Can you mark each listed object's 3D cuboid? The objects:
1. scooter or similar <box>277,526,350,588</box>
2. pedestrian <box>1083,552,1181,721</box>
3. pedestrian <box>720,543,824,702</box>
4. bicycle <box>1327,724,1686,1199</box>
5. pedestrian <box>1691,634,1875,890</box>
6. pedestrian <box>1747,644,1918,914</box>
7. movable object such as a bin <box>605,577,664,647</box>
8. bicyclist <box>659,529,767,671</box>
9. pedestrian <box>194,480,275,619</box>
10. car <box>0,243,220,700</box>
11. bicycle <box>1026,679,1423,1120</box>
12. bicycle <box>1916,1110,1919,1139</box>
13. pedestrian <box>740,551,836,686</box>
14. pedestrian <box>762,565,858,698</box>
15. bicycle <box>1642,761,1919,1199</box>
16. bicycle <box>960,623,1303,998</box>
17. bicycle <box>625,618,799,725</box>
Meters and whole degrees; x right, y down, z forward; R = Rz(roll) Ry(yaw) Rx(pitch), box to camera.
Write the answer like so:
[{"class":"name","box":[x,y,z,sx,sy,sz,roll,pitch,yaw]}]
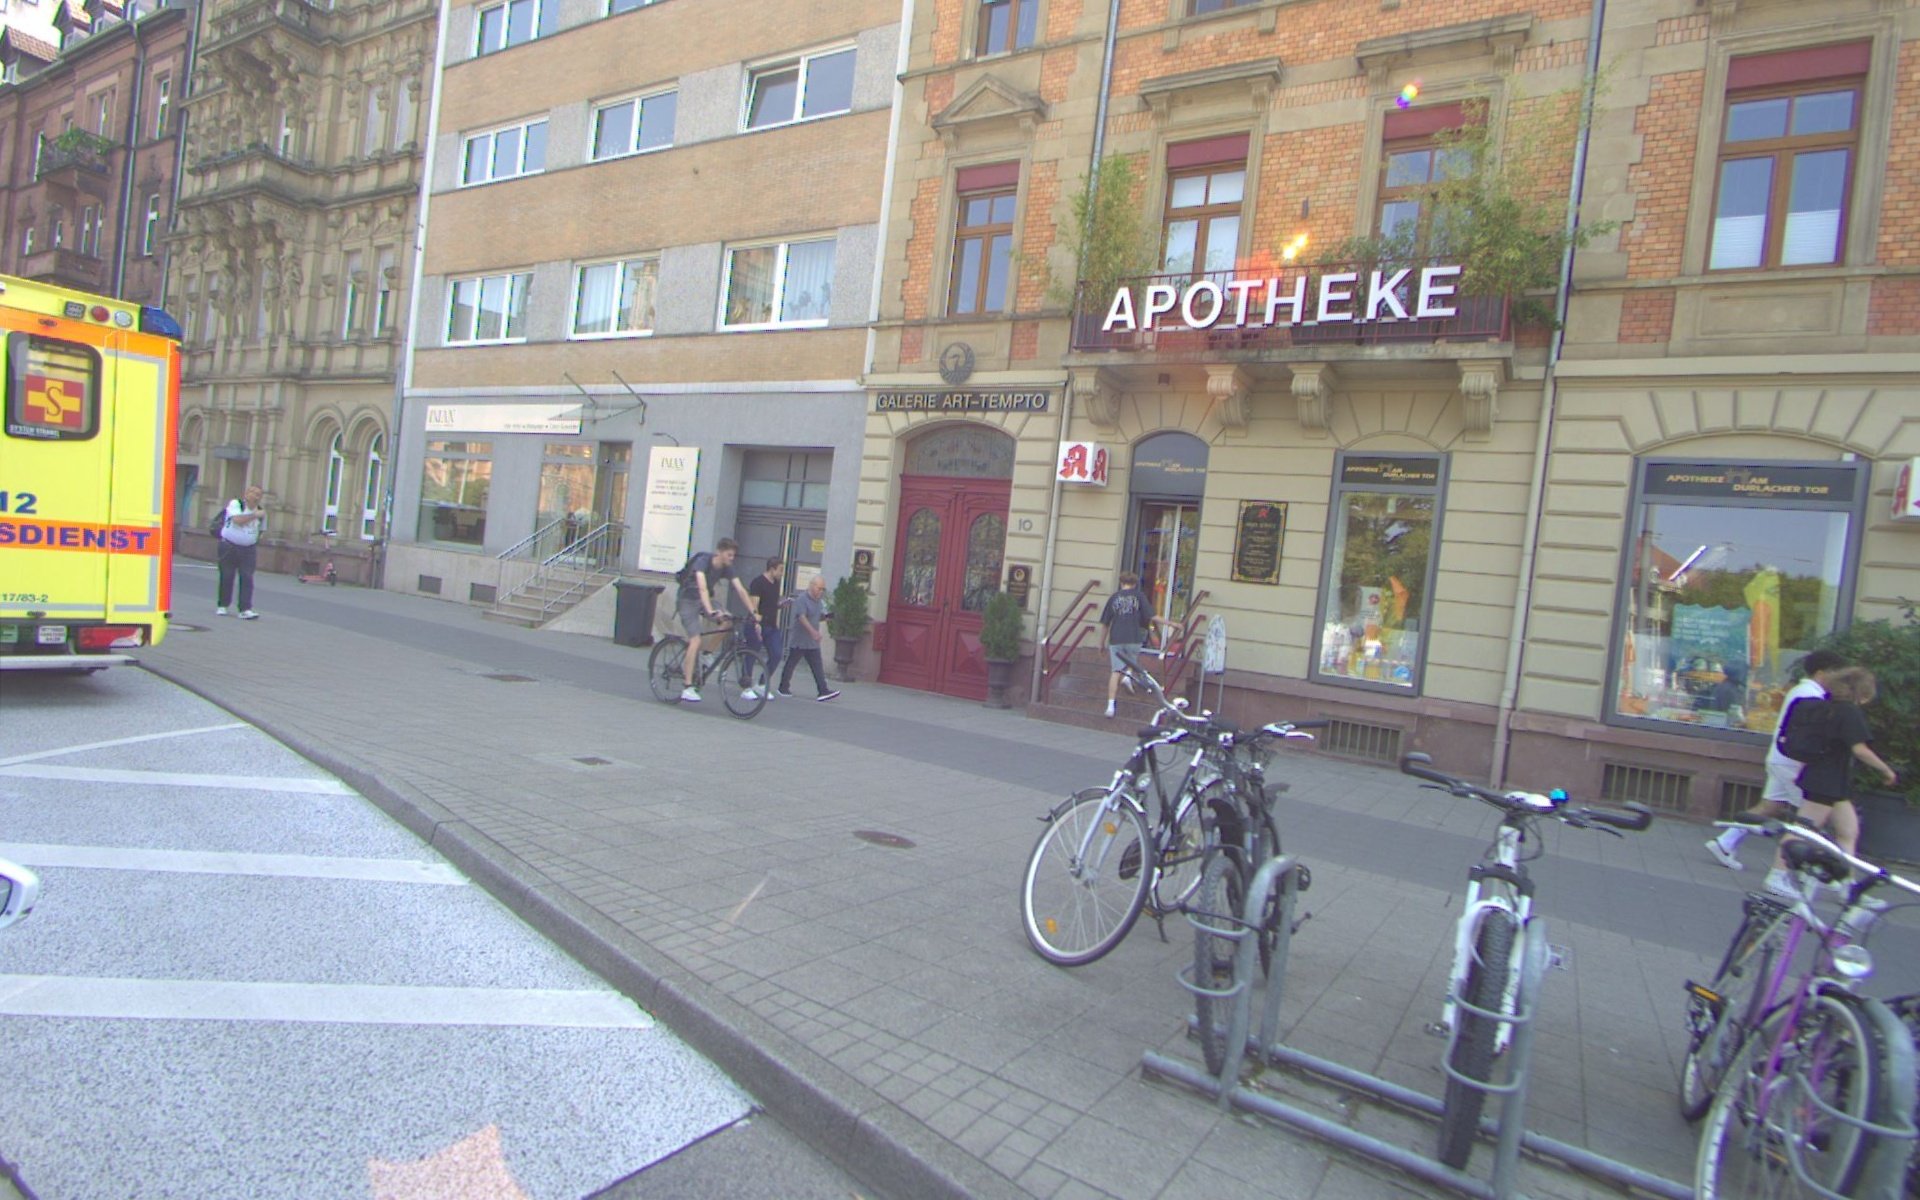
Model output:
[{"class":"scooter or similar","box":[-14.331,-0.954,22.303,1.279,1.211,0.514,7,1,13]},{"class":"pedestrian","box":[2.057,0.420,12.009,0.828,1.871,0.685,7,3,23]},{"class":"pedestrian","box":[-2.156,0.262,11.567,0.776,1.706,0.644,7,1,31]},{"class":"bicycle","box":[1.692,0.993,3.089,0.633,1.085,1.660,7,0,32]},{"class":"pedestrian","box":[6.446,1.224,7.935,0.865,1.819,0.599,7,3,32]},{"class":"pedestrian","box":[6.258,1.240,7.260,0.668,1.774,0.577,7,3,32]},{"class":"movable object such as a bin","box":[-5.380,0.192,16.671,0.752,1.061,0.646,6,1,-11]},{"class":"bicyclist","box":[-2.497,0.014,10.207,0.572,1.338,0.753,7,1,32]},{"class":"pedestrian","box":[-9.403,-0.648,13.060,0.692,1.689,0.597,5,2,-32]},{"class":"car","box":[-8.453,-1.083,8.044,5.510,2.926,2.298,7,2,35]},{"class":"bicycle","box":[1.039,0.885,3.558,0.634,1.085,1.776,7,0,37]},{"class":"bicycle","box":[3.025,1.189,2.530,0.464,1.085,1.539,8,0,32]},{"class":"pedestrian","box":[-2.397,0.246,14.028,0.814,1.760,0.877,7,3,32]},{"class":"pedestrian","box":[-1.831,0.383,12.285,0.776,1.512,0.644,7,1,31]},{"class":"bicycle","box":[2.352,1.078,2.714,0.633,1.085,1.660,8,0,32]},{"class":"bicycle","box":[0.816,0.802,4.315,0.634,1.230,1.674,7,0,37]},{"class":"bicycle","box":[-2.534,0.696,10.206,1.746,0.866,0.589,5,1,31]}]
